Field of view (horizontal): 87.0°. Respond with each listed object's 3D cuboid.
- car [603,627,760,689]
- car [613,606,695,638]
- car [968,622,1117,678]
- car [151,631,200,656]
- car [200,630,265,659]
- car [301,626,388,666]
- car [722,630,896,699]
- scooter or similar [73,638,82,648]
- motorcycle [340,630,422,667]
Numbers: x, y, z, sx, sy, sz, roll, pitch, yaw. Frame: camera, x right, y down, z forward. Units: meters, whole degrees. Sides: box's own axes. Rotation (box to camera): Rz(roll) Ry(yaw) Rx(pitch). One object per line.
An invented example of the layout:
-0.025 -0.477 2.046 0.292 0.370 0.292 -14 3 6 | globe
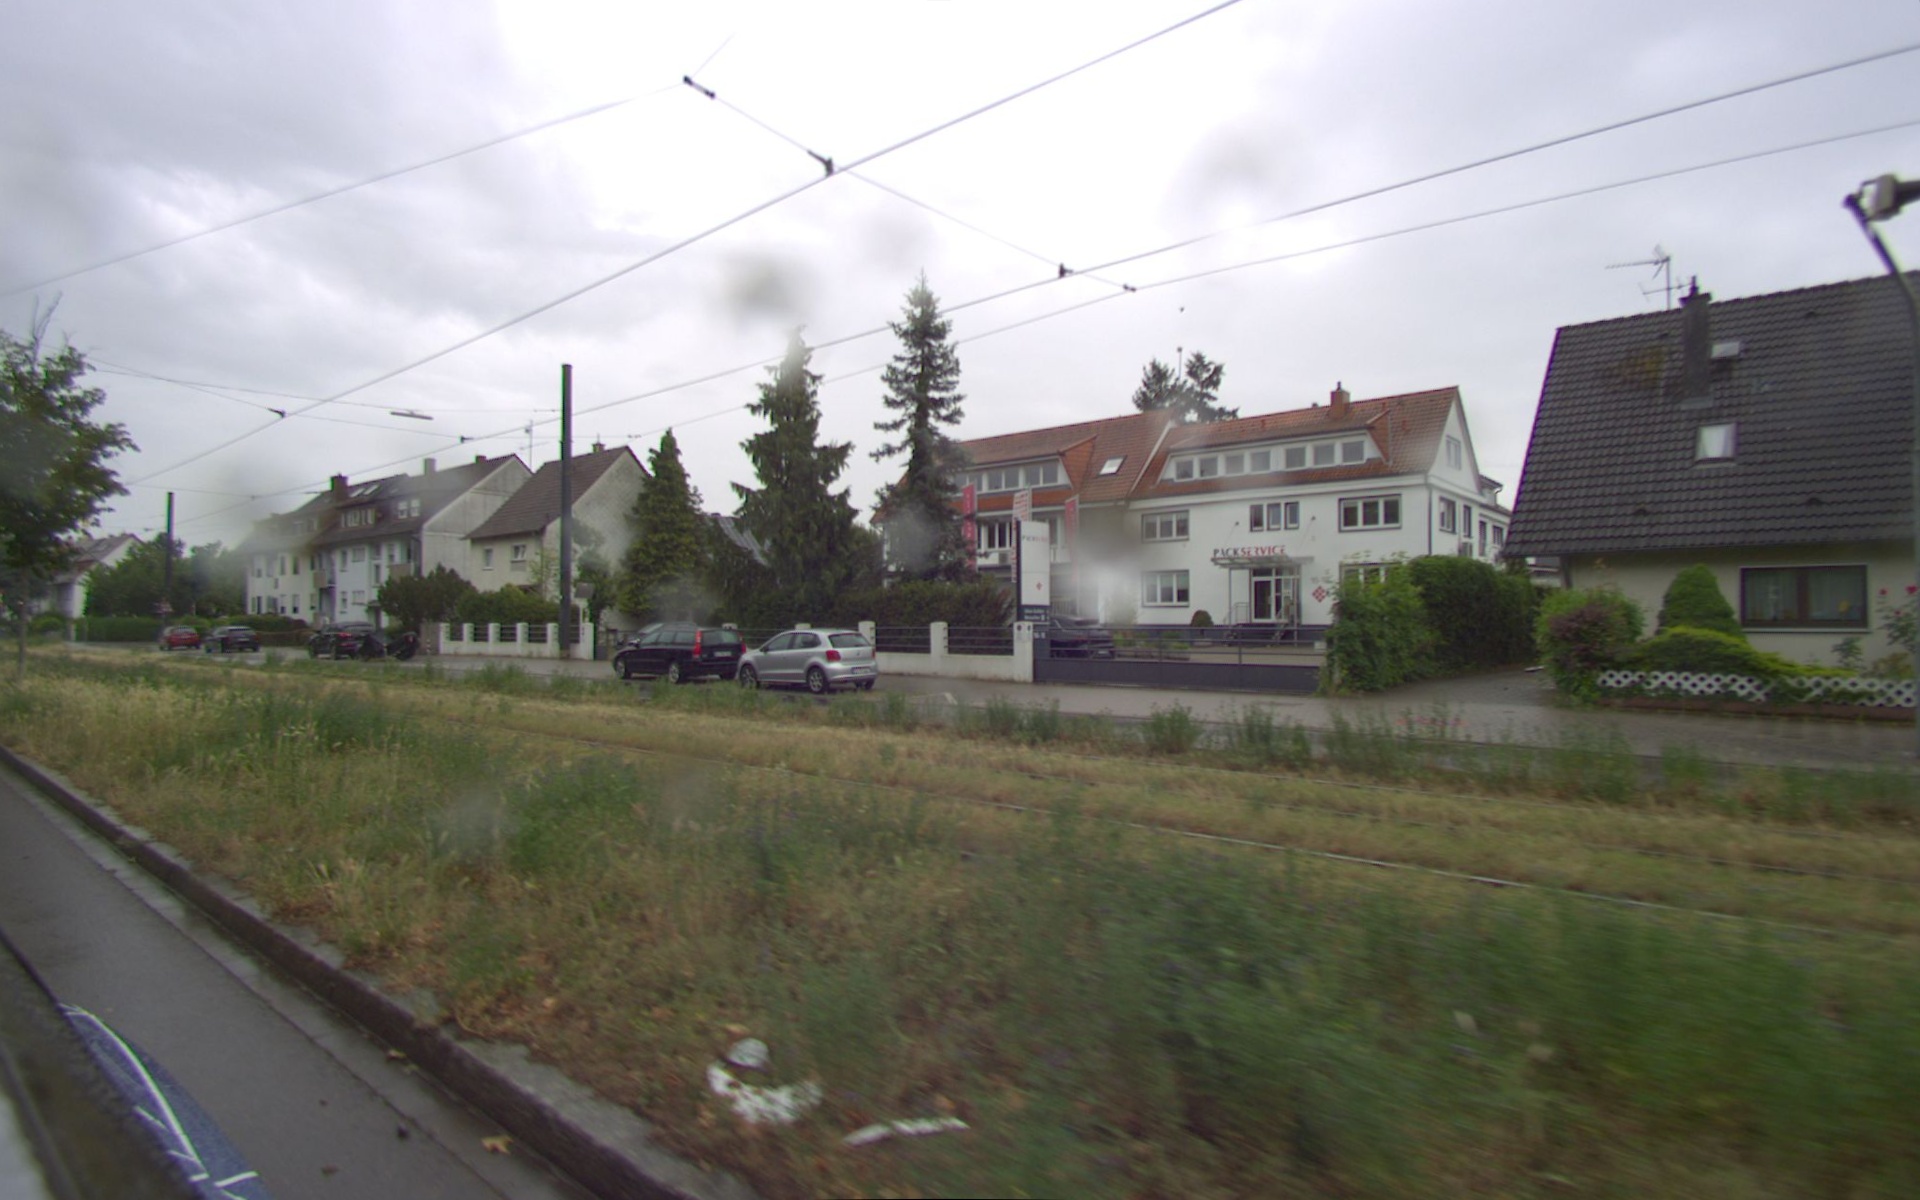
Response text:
-7.601 1.527 27.401 4.530 1.466 1.972 -2 -1 43 | car
-16.236 1.169 53.837 1.703 1.551 3.918 -2 -1 40 | car
2.287 1.388 28.665 3.969 1.421 1.681 -2 -1 41 | car
-49.034 2.699 63.236 3.999 1.468 1.778 -2 -1 43 | car
-40.296 2.445 56.012 4.761 1.421 1.972 -2 -1 43 | car
-27.479 1.996 45.129 4.383 1.687 1.974 -1 -1 39 | car
-3.645 1.483 24.156 3.969 1.421 1.973 -2 -1 41 | car
-78.812 3.840 90.363 1.256 0.917 0.343 -2 -3 35 | scooter or similar
-23.741 1.980 41.583 2.645 1.421 1.269 0 0 -7 | motorcycle
